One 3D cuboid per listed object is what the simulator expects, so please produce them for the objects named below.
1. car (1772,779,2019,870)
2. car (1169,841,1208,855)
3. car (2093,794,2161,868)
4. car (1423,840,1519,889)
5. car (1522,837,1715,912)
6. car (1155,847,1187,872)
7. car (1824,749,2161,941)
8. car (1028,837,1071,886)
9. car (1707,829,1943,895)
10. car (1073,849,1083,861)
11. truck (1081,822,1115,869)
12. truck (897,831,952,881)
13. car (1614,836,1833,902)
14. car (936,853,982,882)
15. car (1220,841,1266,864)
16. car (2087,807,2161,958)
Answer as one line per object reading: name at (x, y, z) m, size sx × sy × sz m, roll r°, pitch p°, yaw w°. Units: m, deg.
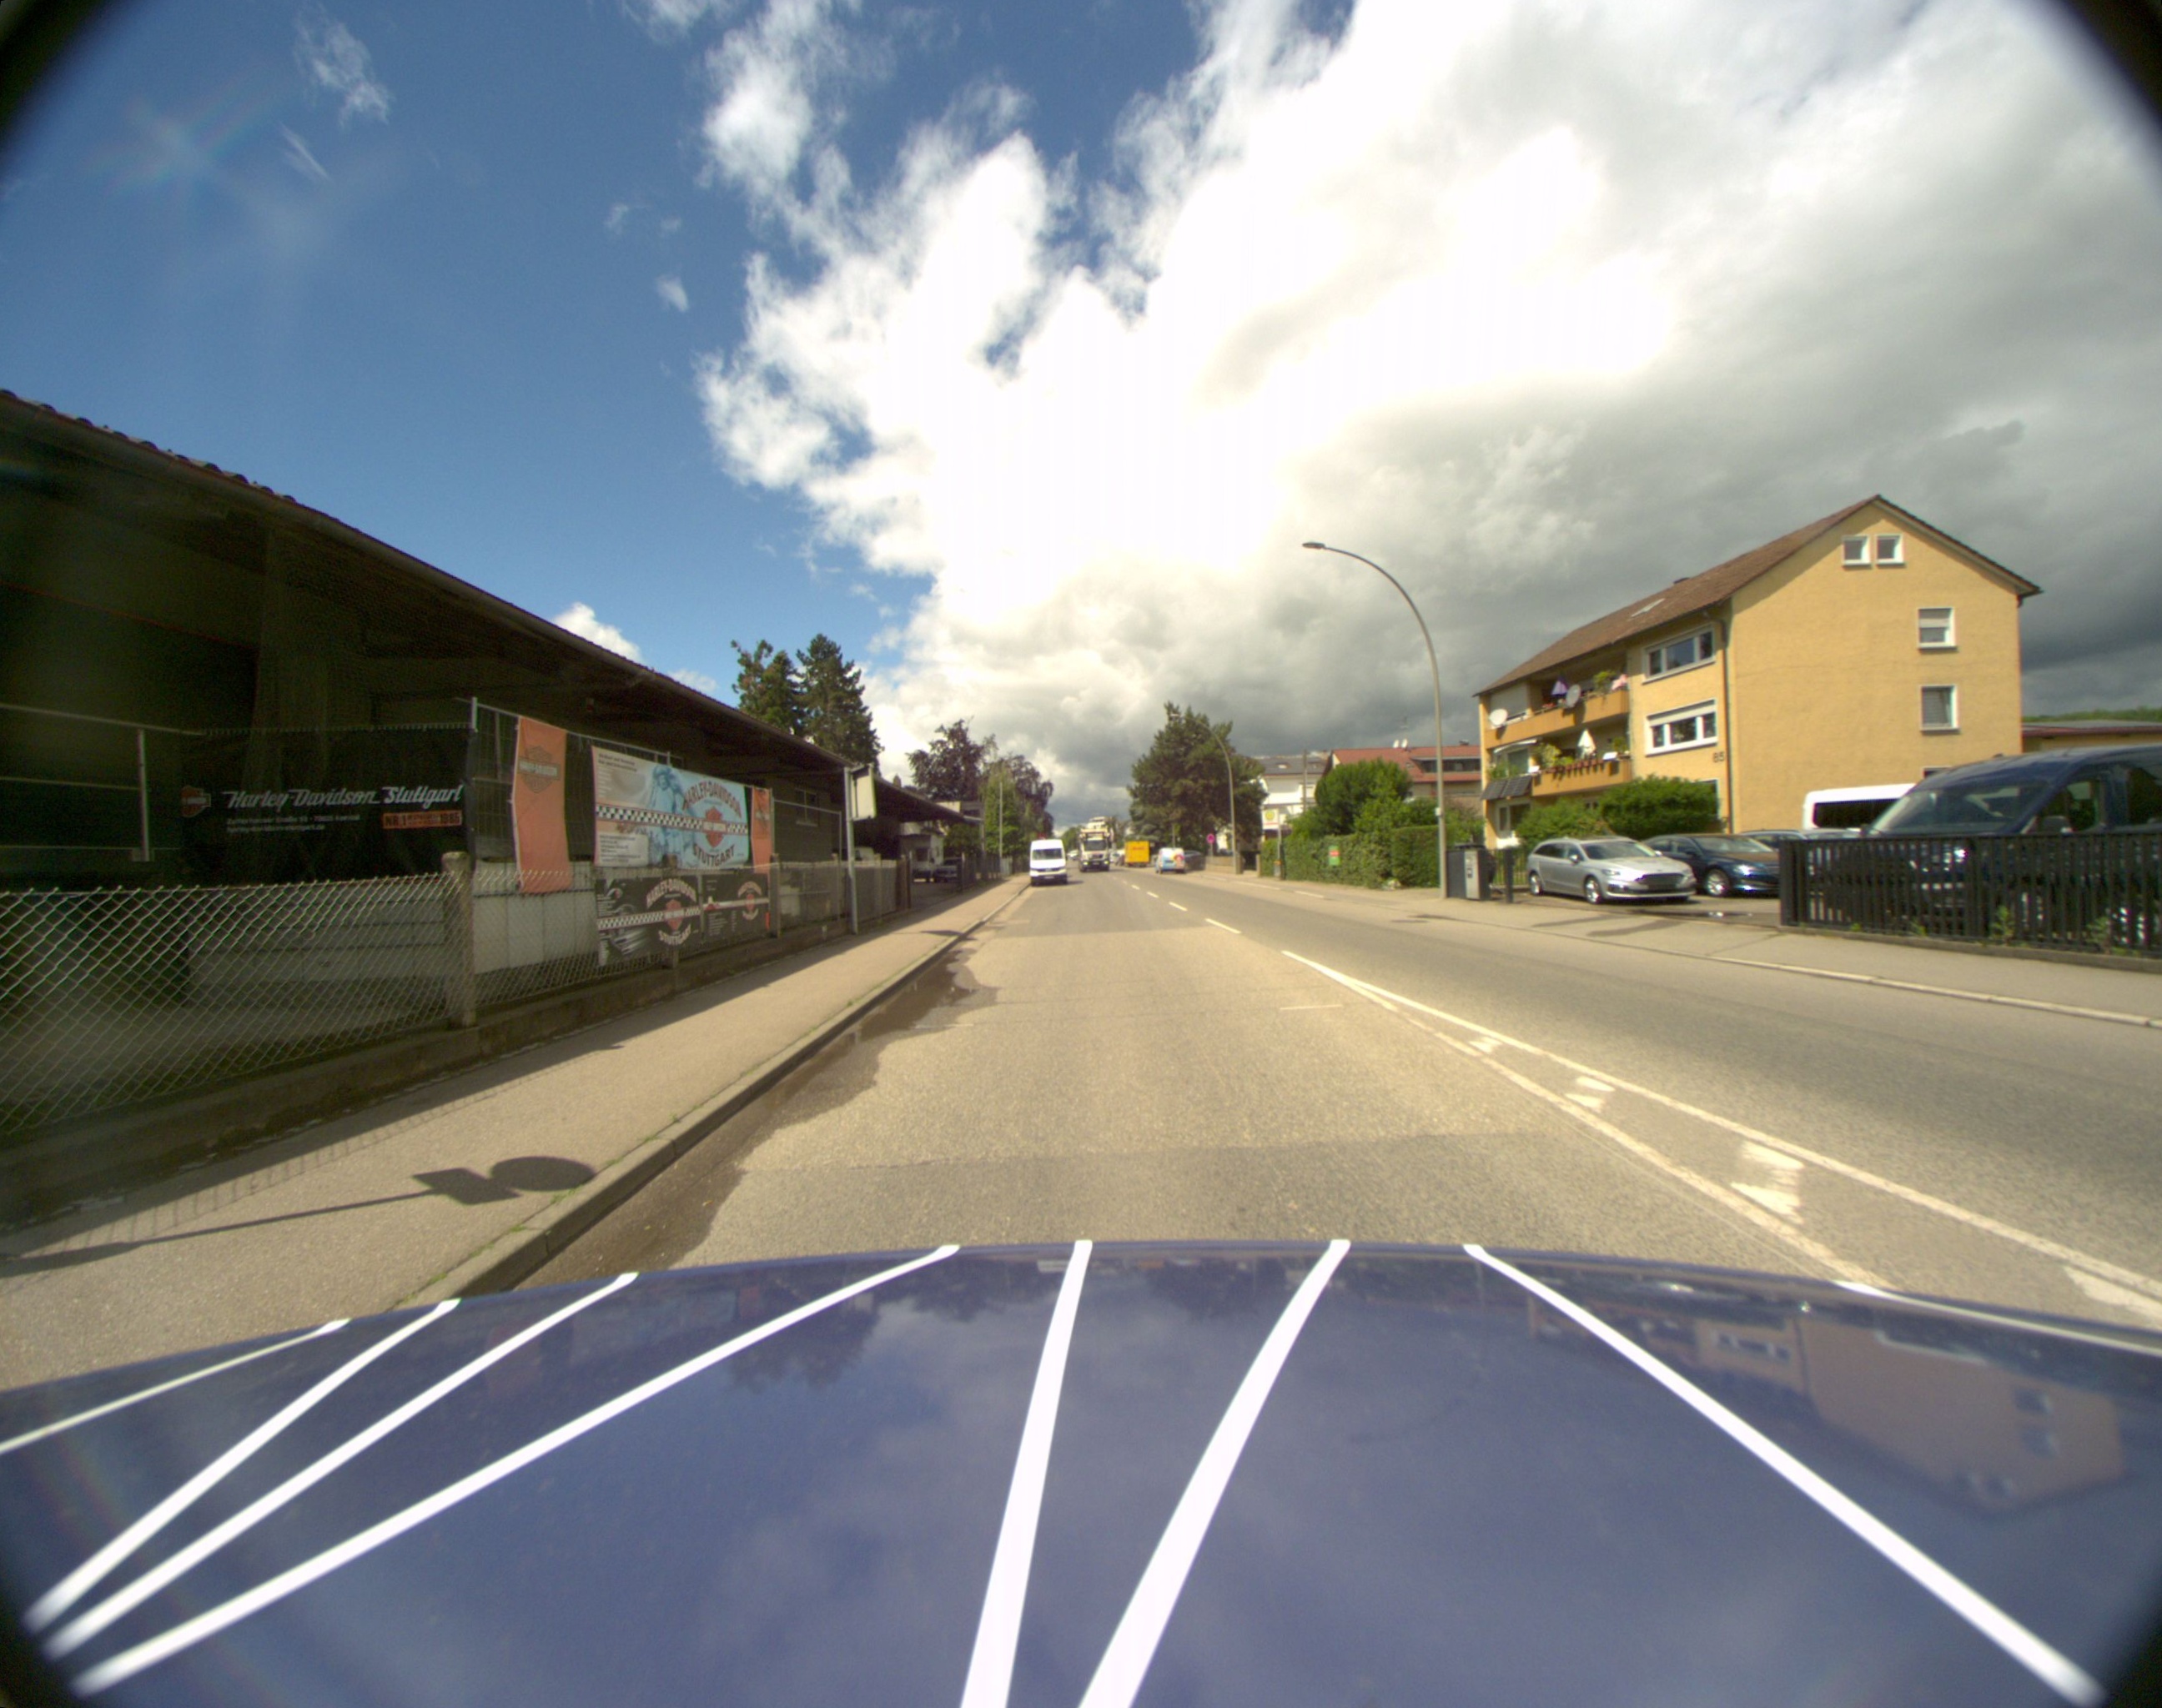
car at (20.431, -0.687, 19.358) m, size 1.998 × 2.002 × 3.999 m, roll -2°, pitch 1°, yaw 1°
car at (14.166, -0.743, 99.986) m, size 4.735 × 1.669 × 2.218 m, roll -2°, pitch 1°, yaw -1°
car at (28.713, -0.623, 18.814) m, size 1.998 × 1.915 × 3.999 m, roll -2°, pitch 1°, yaw 1°
car at (14.628, 0.361, 28.728) m, size 1.831 × 1.656 × 3.522 m, roll -2°, pitch 1°, yaw 1°
car at (12.339, 0.395, 17.848) m, size 1.887 × 1.450 × 4.352 m, roll -3°, pitch 1°, yaw 8°
car at (6.486, 0.342, 55.141) m, size 1.730 × 1.671 × 3.999 m, roll -2°, pitch 1°, yaw -2°
car at (14.224, -0.181, 10.672) m, size 5.363 × 2.371 × 2.104 m, roll -2°, pitch 1°, yaw 2°
car at (-1.703, 0.367, 43.185) m, size 2.091 × 2.519 × 5.202 m, roll -2°, pitch 1°, yaw 1°
car at (17.912, 0.148, 18.608) m, size 1.883 × 1.364 × 3.999 m, roll -2°, pitch 1°, yaw 1°
car at (-0.673, 0.208, 167.519) m, size 2.091 × 2.310 × 5.202 m, roll -2°, pitch 1°, yaw 1°
truck at (1.474, -0.757, 68.149) m, size 2.664 × 3.789 × 9.814 m, roll -2°, pitch 1°, yaw 1°
truck at (-9.474, 0.095, 46.392) m, size 2.091 × 2.812 × 5.202 m, roll -2°, pitch 1°, yaw 1°
car at (15.104, 0.302, 18.196) m, size 1.885 × 1.334 × 3.999 m, roll -2°, pitch 1°, yaw 1°
car at (-7.140, 0.726, 44.828) m, size 1.863 × 1.521 × 5.202 m, roll -2°, pitch 1°, yaw 0°
car at (15.293, -0.146, 71.842) m, size 2.003 × 2.002 × 3.990 m, roll -3°, pitch 1°, yaw -32°
car at (12.381, 0.284, 6.861) m, size 1.813 × 1.612 × 3.621 m, roll -2°, pitch 1°, yaw 1°
